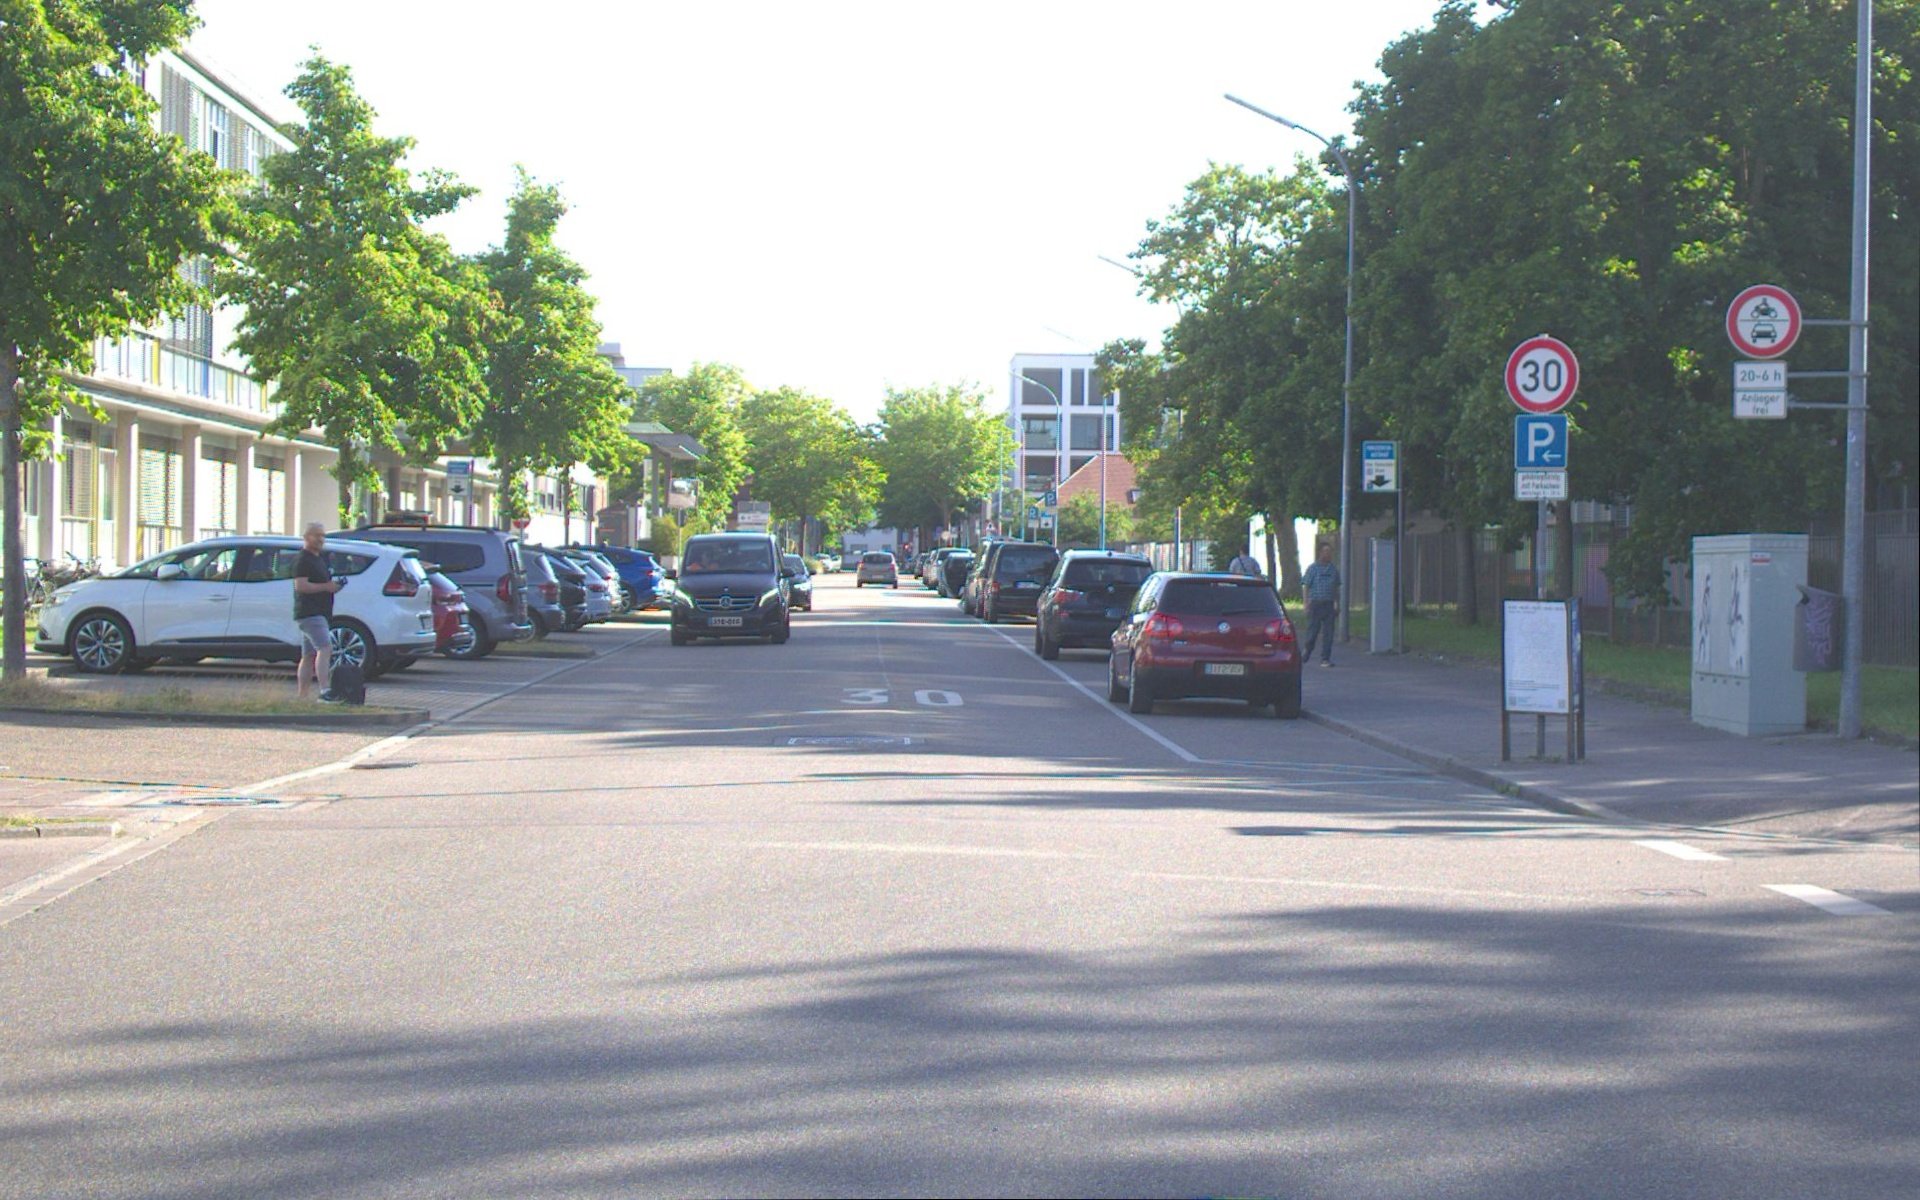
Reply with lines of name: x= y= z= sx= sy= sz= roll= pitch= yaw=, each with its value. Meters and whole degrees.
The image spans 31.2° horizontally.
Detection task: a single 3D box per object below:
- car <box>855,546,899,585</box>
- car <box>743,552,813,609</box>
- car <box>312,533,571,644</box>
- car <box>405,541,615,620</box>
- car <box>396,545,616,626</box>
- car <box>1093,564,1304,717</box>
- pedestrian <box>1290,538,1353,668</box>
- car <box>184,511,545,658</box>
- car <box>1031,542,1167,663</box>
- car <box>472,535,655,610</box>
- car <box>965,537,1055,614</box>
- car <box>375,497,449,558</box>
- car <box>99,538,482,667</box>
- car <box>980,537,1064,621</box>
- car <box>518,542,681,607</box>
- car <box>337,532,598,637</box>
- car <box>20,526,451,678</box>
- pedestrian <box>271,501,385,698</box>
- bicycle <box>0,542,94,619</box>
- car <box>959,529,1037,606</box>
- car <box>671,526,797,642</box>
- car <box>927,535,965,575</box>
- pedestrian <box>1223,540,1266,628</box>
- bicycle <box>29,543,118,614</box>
car: x=-3.457 y=-1.450 z=142.329 sx=1.743 sy=1.538 sz=4.000 roll=1 pitch=1 yaw=-2
car: x=-4.674 y=-0.520 z=88.699 sx=1.703 sy=1.446 sz=4.087 roll=0 pitch=1 yaw=-1
car: x=-8.354 y=-0.198 z=55.681 sx=3.986 sy=1.601 sz=1.872 roll=2 pitch=1 yaw=-5
car: x=-9.314 y=-0.405 z=71.414 sx=4.213 sy=1.457 sz=1.872 roll=2 pitch=1 yaw=-5
car: x=-8.485 y=-0.278 z=64.493 sx=3.986 sy=1.354 sz=1.743 roll=2 pitch=1 yaw=-5
car: x=2.478 y=0.381 z=36.740 sx=1.719 sy=1.450 sz=4.652 roll=2 pitch=1 yaw=-2
pedestrian: x=4.999 y=0.034 z=47.583 sx=0.717 sy=1.752 sz=0.885 roll=-1 pitch=1 yaw=-1
car: x=-8.385 y=-0.229 z=48.683 sx=4.742 sy=1.858 sz=1.827 roll=2 pitch=1 yaw=-1
car: x=2.085 y=-0.005 z=52.773 sx=1.812 sy=1.660 sz=4.593 roll=2 pitch=2 yaw=-1
car: x=-9.359 y=-0.655 z=81.415 sx=4.213 sy=1.597 sz=1.872 roll=2 pitch=1 yaw=-5
car: x=1.198 y=-0.618 z=83.962 sx=1.993 sy=1.816 sz=4.199 roll=0 pitch=1 yaw=-2
car: x=-19.110 y=-2.508 z=119.999 sx=1.993 sy=2.007 sz=4.000 roll=1 pitch=0 yaw=-2
car: x=-8.331 y=0.022 z=43.038 sx=4.433 sy=1.496 sz=1.827 roll=1 pitch=0 yaw=-1
car: x=1.375 y=-0.490 z=77.723 sx=1.733 sy=1.824 sz=3.905 roll=1 pitch=1 yaw=-1
car: x=-9.027 y=-0.648 z=86.385 sx=3.986 sy=1.546 sz=2.000 roll=1 pitch=1 yaw=-4
car: x=-8.361 y=-0.277 z=58.636 sx=4.245 sy=1.606 sz=2.048 roll=2 pitch=1 yaw=-5
car: x=-8.461 y=0.014 z=40.400 sx=4.612 sy=1.645 sz=1.867 roll=1 pitch=0 yaw=2
pedestrian: x=-6.065 y=-0.008 z=33.037 sx=0.857 sy=1.836 sz=0.825 roll=3 pitch=1 yaw=0
bicycle: x=-14.519 y=-0.310 z=53.385 sx=0.870 sy=1.149 sz=2.370 roll=3 pitch=0 yaw=20
car: x=0.980 y=-0.872 z=90.204 sx=1.874 sy=1.971 sz=4.000 roll=0 pitch=1 yaw=-2
car: x=-3.830 y=-0.302 z=59.026 sx=1.955 sy=1.861 sz=5.255 roll=1 pitch=1 yaw=-2
car: x=-0.559 y=-1.812 z=138.813 sx=1.436 sy=1.555 sz=3.042 roll=1 pitch=1 yaw=-2
pedestrian: x=5.468 y=-0.305 z=66.051 sx=0.698 sy=1.655 sz=0.752 roll=-2 pitch=1 yaw=-2
bicycle: x=-14.734 y=-0.371 z=57.169 sx=0.892 sy=1.107 sz=1.889 roll=2 pitch=2 yaw=2
